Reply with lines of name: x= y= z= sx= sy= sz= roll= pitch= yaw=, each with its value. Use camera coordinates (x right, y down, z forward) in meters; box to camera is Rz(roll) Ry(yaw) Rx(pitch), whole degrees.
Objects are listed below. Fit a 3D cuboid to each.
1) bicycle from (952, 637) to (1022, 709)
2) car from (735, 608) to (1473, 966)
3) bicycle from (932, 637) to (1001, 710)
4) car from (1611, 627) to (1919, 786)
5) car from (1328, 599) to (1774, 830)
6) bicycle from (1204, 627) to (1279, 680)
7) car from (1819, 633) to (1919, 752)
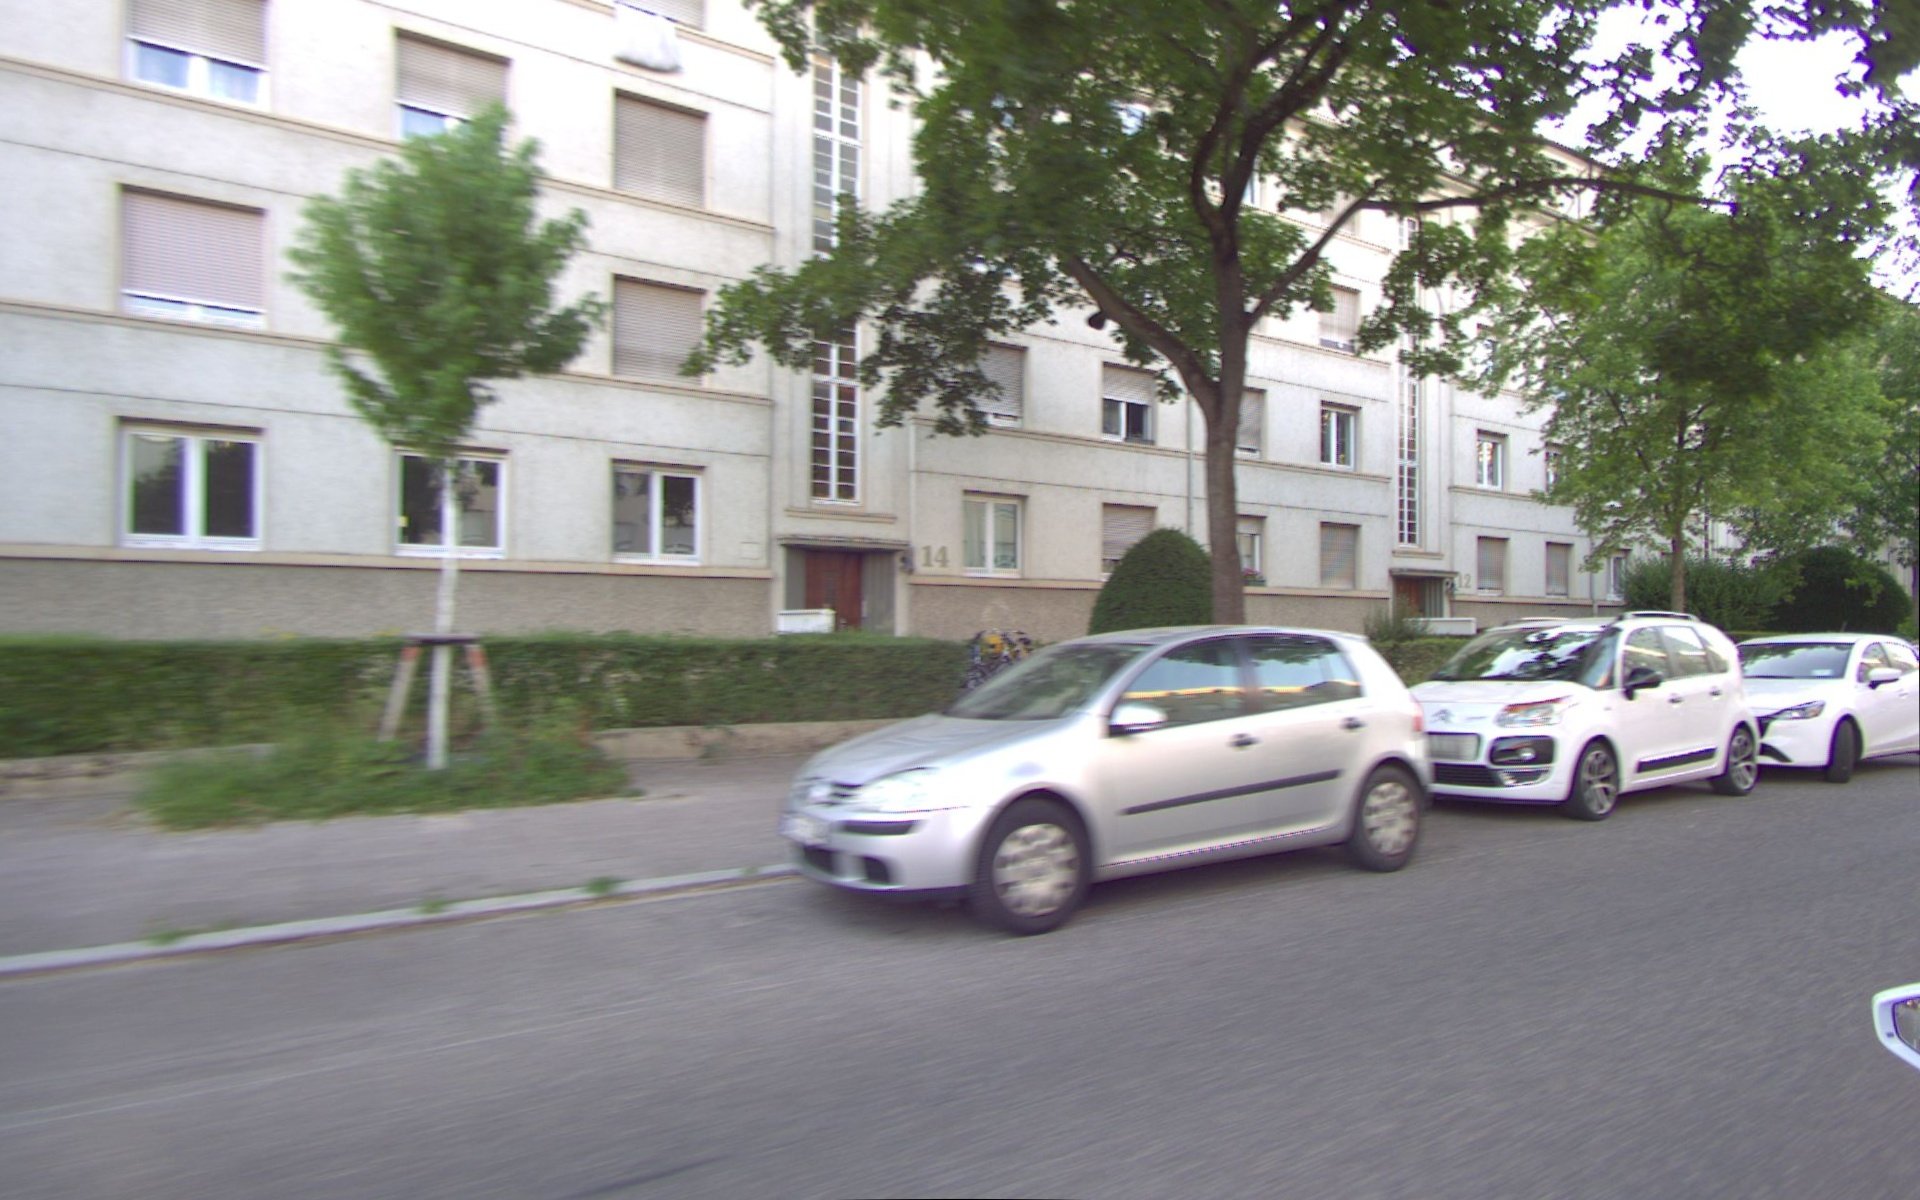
bicycle: x=0.399 y=1.131 z=16.047 sx=0.549 sy=1.057 sz=1.810 roll=1 pitch=-1 yaw=-18
car: x=0.948 y=0.873 z=6.022 sx=4.173 sy=1.490 sz=1.745 roll=1 pitch=-4 yaw=-30
bicycle: x=0.076 y=1.123 z=15.866 sx=0.549 sy=1.057 sz=1.810 roll=1 pitch=-1 yaw=-18
car: x=9.321 y=1.101 z=11.251 sx=3.896 sy=1.498 sz=1.745 roll=1 pitch=-4 yaw=-29
car: x=5.385 y=0.918 z=9.041 sx=4.062 sy=1.653 sz=1.744 roll=1 pitch=-5 yaw=-32
bicycle: x=6.545 y=1.230 z=23.322 sx=1.794 sy=1.187 sz=0.554 roll=1 pitch=-1 yaw=-28
car: x=14.032 y=1.220 z=14.051 sx=4.627 sy=1.498 sz=1.743 roll=1 pitch=-5 yaw=-33
